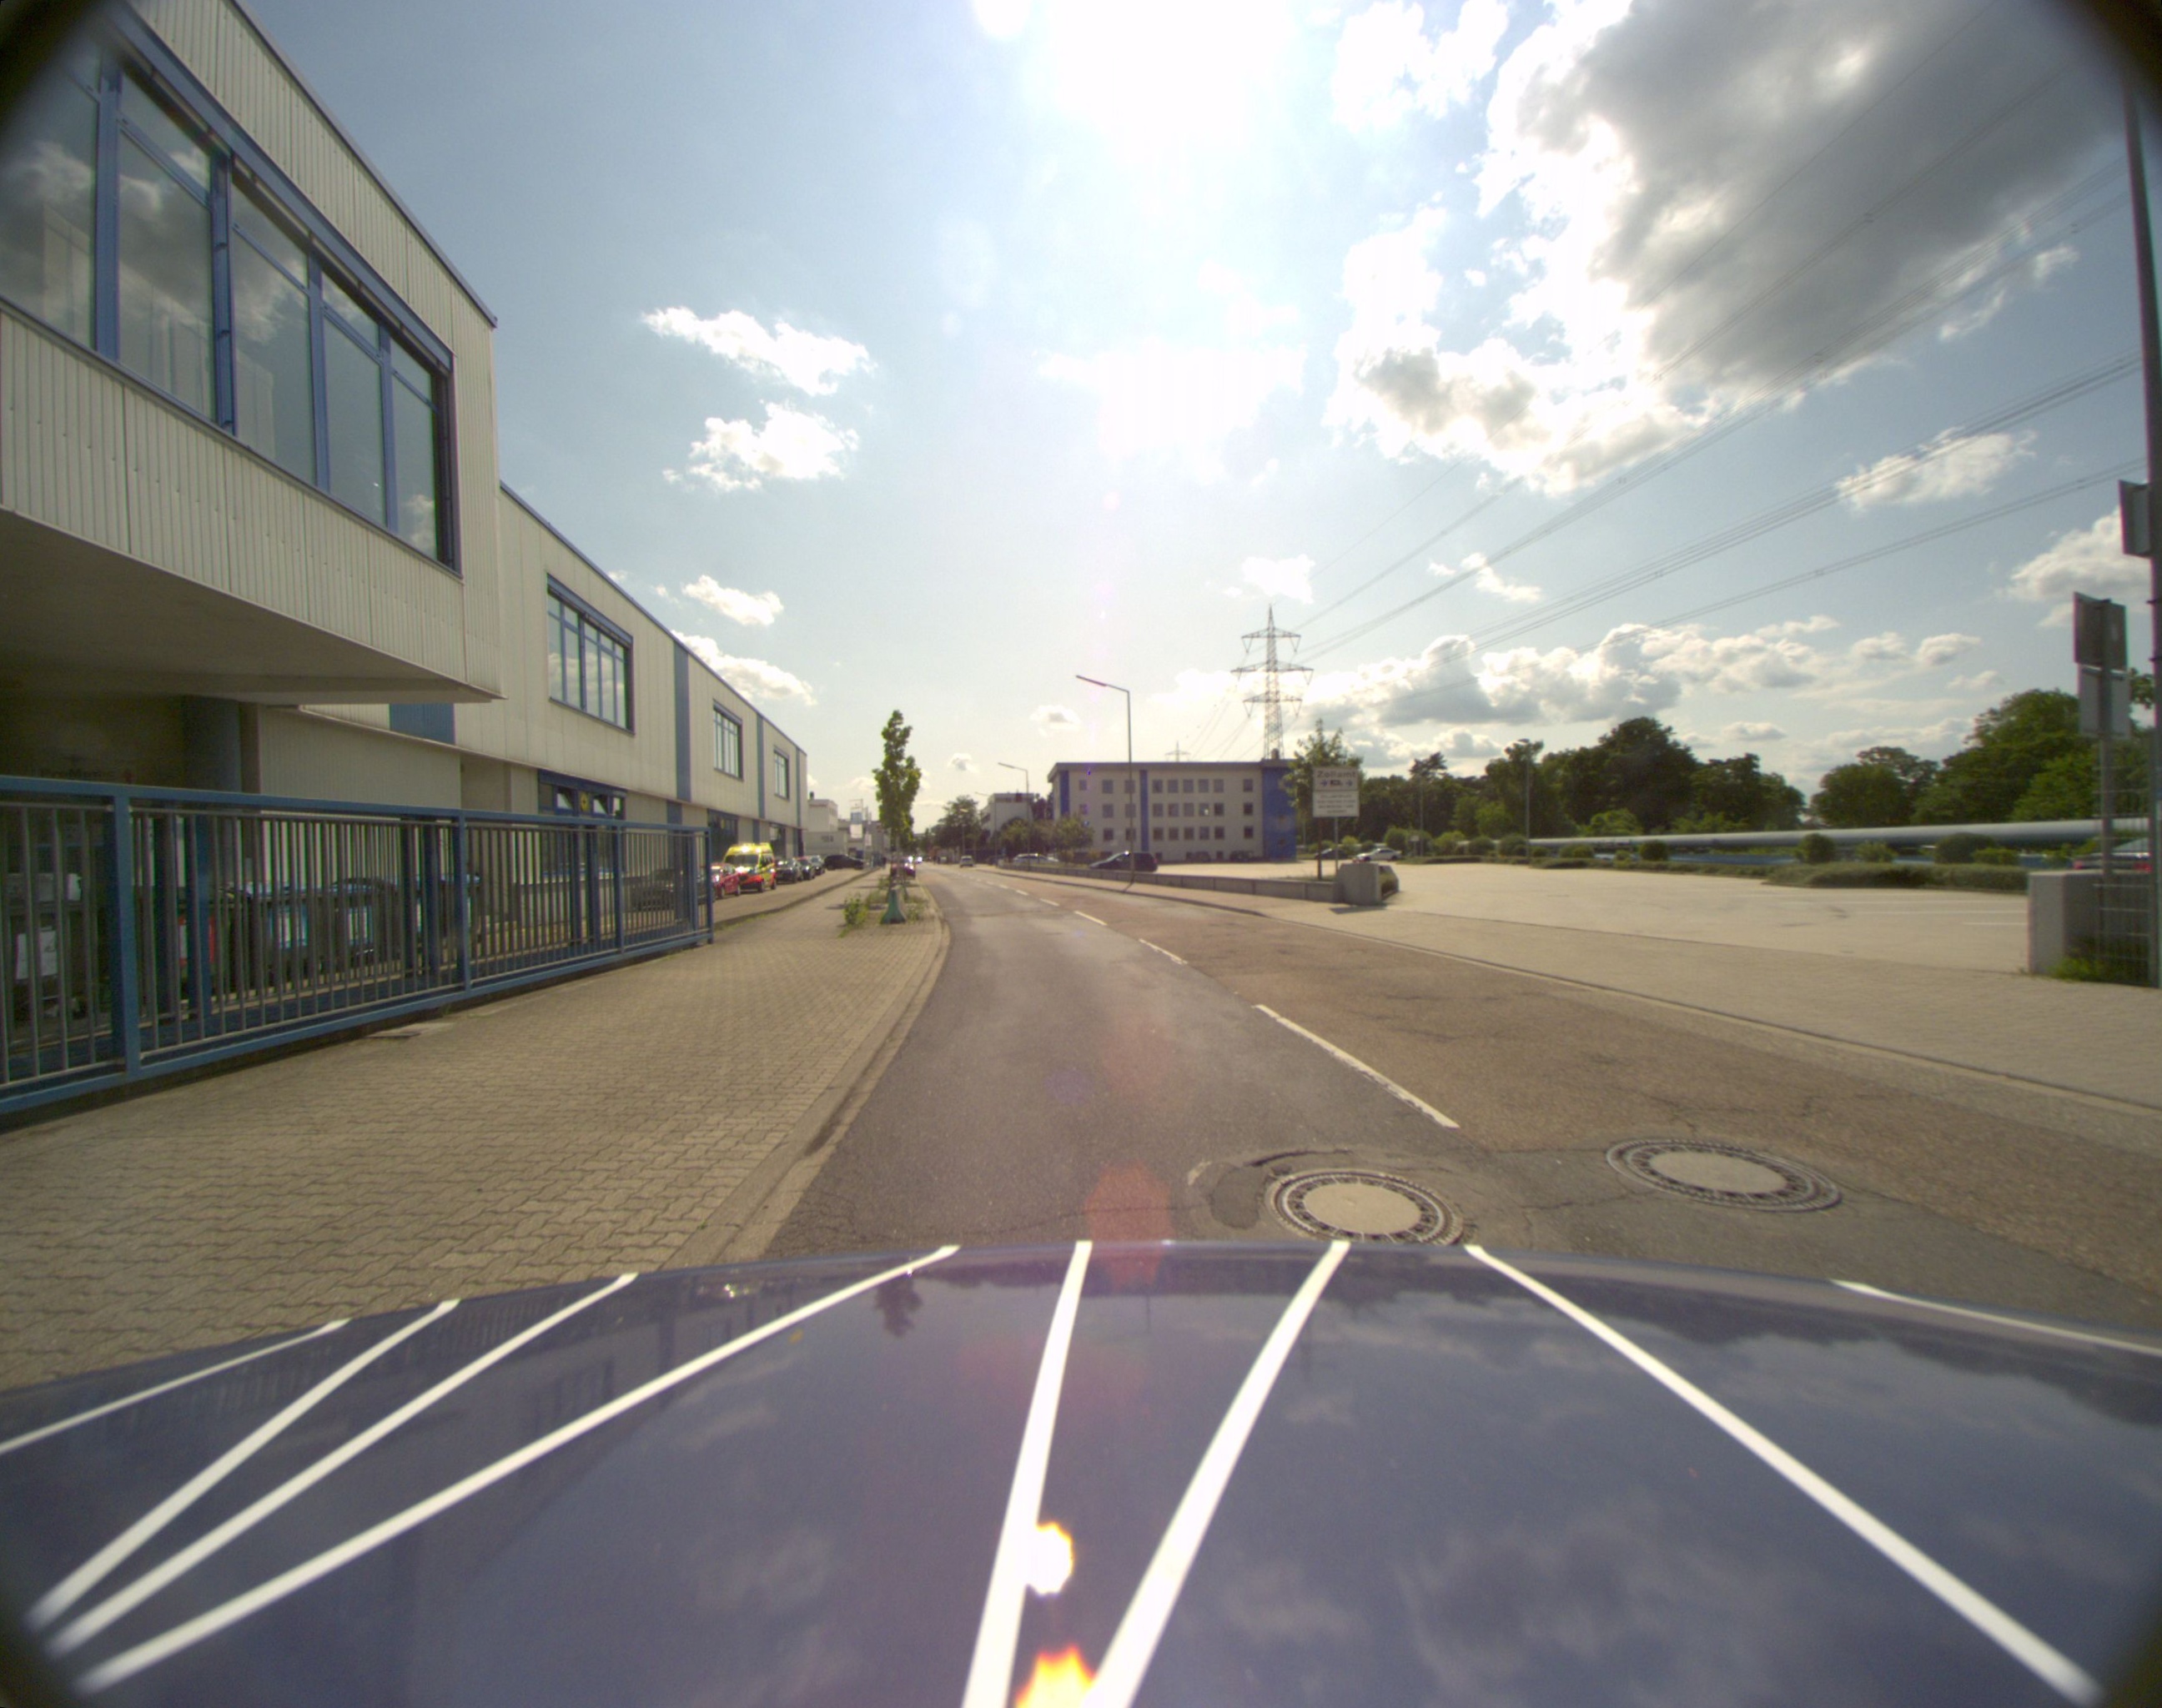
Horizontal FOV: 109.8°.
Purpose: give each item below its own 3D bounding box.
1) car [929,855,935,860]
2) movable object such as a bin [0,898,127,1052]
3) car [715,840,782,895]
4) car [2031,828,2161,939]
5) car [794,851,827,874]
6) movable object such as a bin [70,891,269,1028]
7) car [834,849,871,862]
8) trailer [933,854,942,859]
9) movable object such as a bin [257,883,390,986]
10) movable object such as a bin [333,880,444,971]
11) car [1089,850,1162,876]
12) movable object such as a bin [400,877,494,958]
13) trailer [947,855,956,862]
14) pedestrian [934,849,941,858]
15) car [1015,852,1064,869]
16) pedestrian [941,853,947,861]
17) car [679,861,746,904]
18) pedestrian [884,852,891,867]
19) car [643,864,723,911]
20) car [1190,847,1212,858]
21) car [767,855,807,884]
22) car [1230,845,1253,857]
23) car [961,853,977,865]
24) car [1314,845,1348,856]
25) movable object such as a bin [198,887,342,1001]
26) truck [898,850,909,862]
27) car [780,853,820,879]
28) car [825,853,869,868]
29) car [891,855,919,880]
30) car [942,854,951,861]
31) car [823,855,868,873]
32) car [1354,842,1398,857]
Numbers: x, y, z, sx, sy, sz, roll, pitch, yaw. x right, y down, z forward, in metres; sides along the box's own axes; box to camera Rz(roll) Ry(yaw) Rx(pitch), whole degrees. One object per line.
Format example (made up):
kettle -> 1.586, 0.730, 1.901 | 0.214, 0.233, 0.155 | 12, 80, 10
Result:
car -> -47.935, 1.016, 244.363 | 1.716, 1.459, 4.623 | -5, 2, -14
movable object such as a bin -> -10.997, 1.222, 7.757 | 0.807, 1.405, 1.403 | -3, 2, -15
car -> -16.211, 0.585, 37.302 | 1.931, 2.450, 5.253 | -2, 1, -12
car -> 15.540, 0.325, 9.643 | 3.991, 1.370, 1.806 | -1, 1, 22
car -> -21.486, 0.637, 60.451 | 1.834, 1.504, 4.633 | -2, 3, -12
movable object such as a bin -> -11.054, 1.224, 9.300 | 0.807, 1.405, 1.425 | -3, 2, -15
car -> -26.854, 0.202, 89.374 | 4.001, 1.412, 1.998 | -1, 1, -12
trailer -> -42.776, 0.684, 226.262 | 2.459, 1.157, 6.044 | -4, 1, -14
movable object such as a bin -> -11.759, 1.212, 11.861 | 0.807, 1.405, 1.356 | -3, 2, -13
movable object such as a bin -> -12.074, 1.206, 13.314 | 0.807, 1.405, 1.356 | -3, 2, -13
car -> 2.625, 0.512, 45.509 | 4.001, 1.368, 1.801 | -2, 1, -13
movable object such as a bin -> -12.331, 1.205, 14.830 | 0.807, 1.405, 1.356 | -3, 2, -13
trailer -> -28.820, 1.033, 168.777 | 1.773, 1.431, 4.330 | -5, 2, -13
pedestrian -> -29.554, -0.153, 156.813 | 0.994, 1.940, 1.088 | -2, 1, -35
car -> -4.323, 0.669, 78.796 | 4.771, 1.593, 1.998 | -2, 1, -12
pedestrian -> -28.429, 0.624, 157.583 | 0.861, 1.797, 1.003 | -2, 1, -35
car -> -15.129, 1.116, 31.346 | 1.578, 1.482, 3.811 | -2, 1, -12
pedestrian -> -23.033, 0.694, 90.255 | 0.772, 1.746, 0.786 | 0, 1, -13
car -> -14.073, 1.130, 27.051 | 1.501, 1.395, 3.849 | -2, 1, -12
car -> 14.785, -0.174, 93.586 | 1.567, 1.368, 3.677 | -2, 1, -9
car -> -18.707, 0.932, 48.474 | 1.720, 1.642, 4.209 | -2, 2, -12
car -> 19.663, -0.402, 93.313 | 1.567, 1.368, 3.677 | -2, 1, -9
car -> -16.984, 0.727, 115.173 | 1.874, 1.699, 4.746 | -3, 1, -13
car -> 31.567, -0.412, 96.004 | 3.608, 1.244, 1.803 | -1, 1, -4
movable object such as a bin -> -11.281, 1.210, 10.630 | 0.807, 1.405, 1.173 | -3, 2, -15
truck -> -55.569, 0.595, 237.950 | 2.610, 3.208, 8.065 | -5, 2, -16
car -> -19.883, 0.819, 53.881 | 2.001, 1.648, 4.284 | -2, 2, -12
car -> -24.619, 0.688, 80.152 | 4.294, 1.412, 1.998 | -1, 1, -12
car -> -13.047, 0.962, 56.517 | 1.761, 1.641, 4.672 | -2, 1, -11
car -> -32.761, 0.809, 184.863 | 1.679, 1.447, 4.508 | -4, 2, -13
car -> -23.279, 0.990, 75.256 | 4.099, 1.676, 1.997 | -2, 1, -14
car -> 30.524, -0.461, 78.666 | 3.823, 1.465, 1.803 | -1, 1, 1
